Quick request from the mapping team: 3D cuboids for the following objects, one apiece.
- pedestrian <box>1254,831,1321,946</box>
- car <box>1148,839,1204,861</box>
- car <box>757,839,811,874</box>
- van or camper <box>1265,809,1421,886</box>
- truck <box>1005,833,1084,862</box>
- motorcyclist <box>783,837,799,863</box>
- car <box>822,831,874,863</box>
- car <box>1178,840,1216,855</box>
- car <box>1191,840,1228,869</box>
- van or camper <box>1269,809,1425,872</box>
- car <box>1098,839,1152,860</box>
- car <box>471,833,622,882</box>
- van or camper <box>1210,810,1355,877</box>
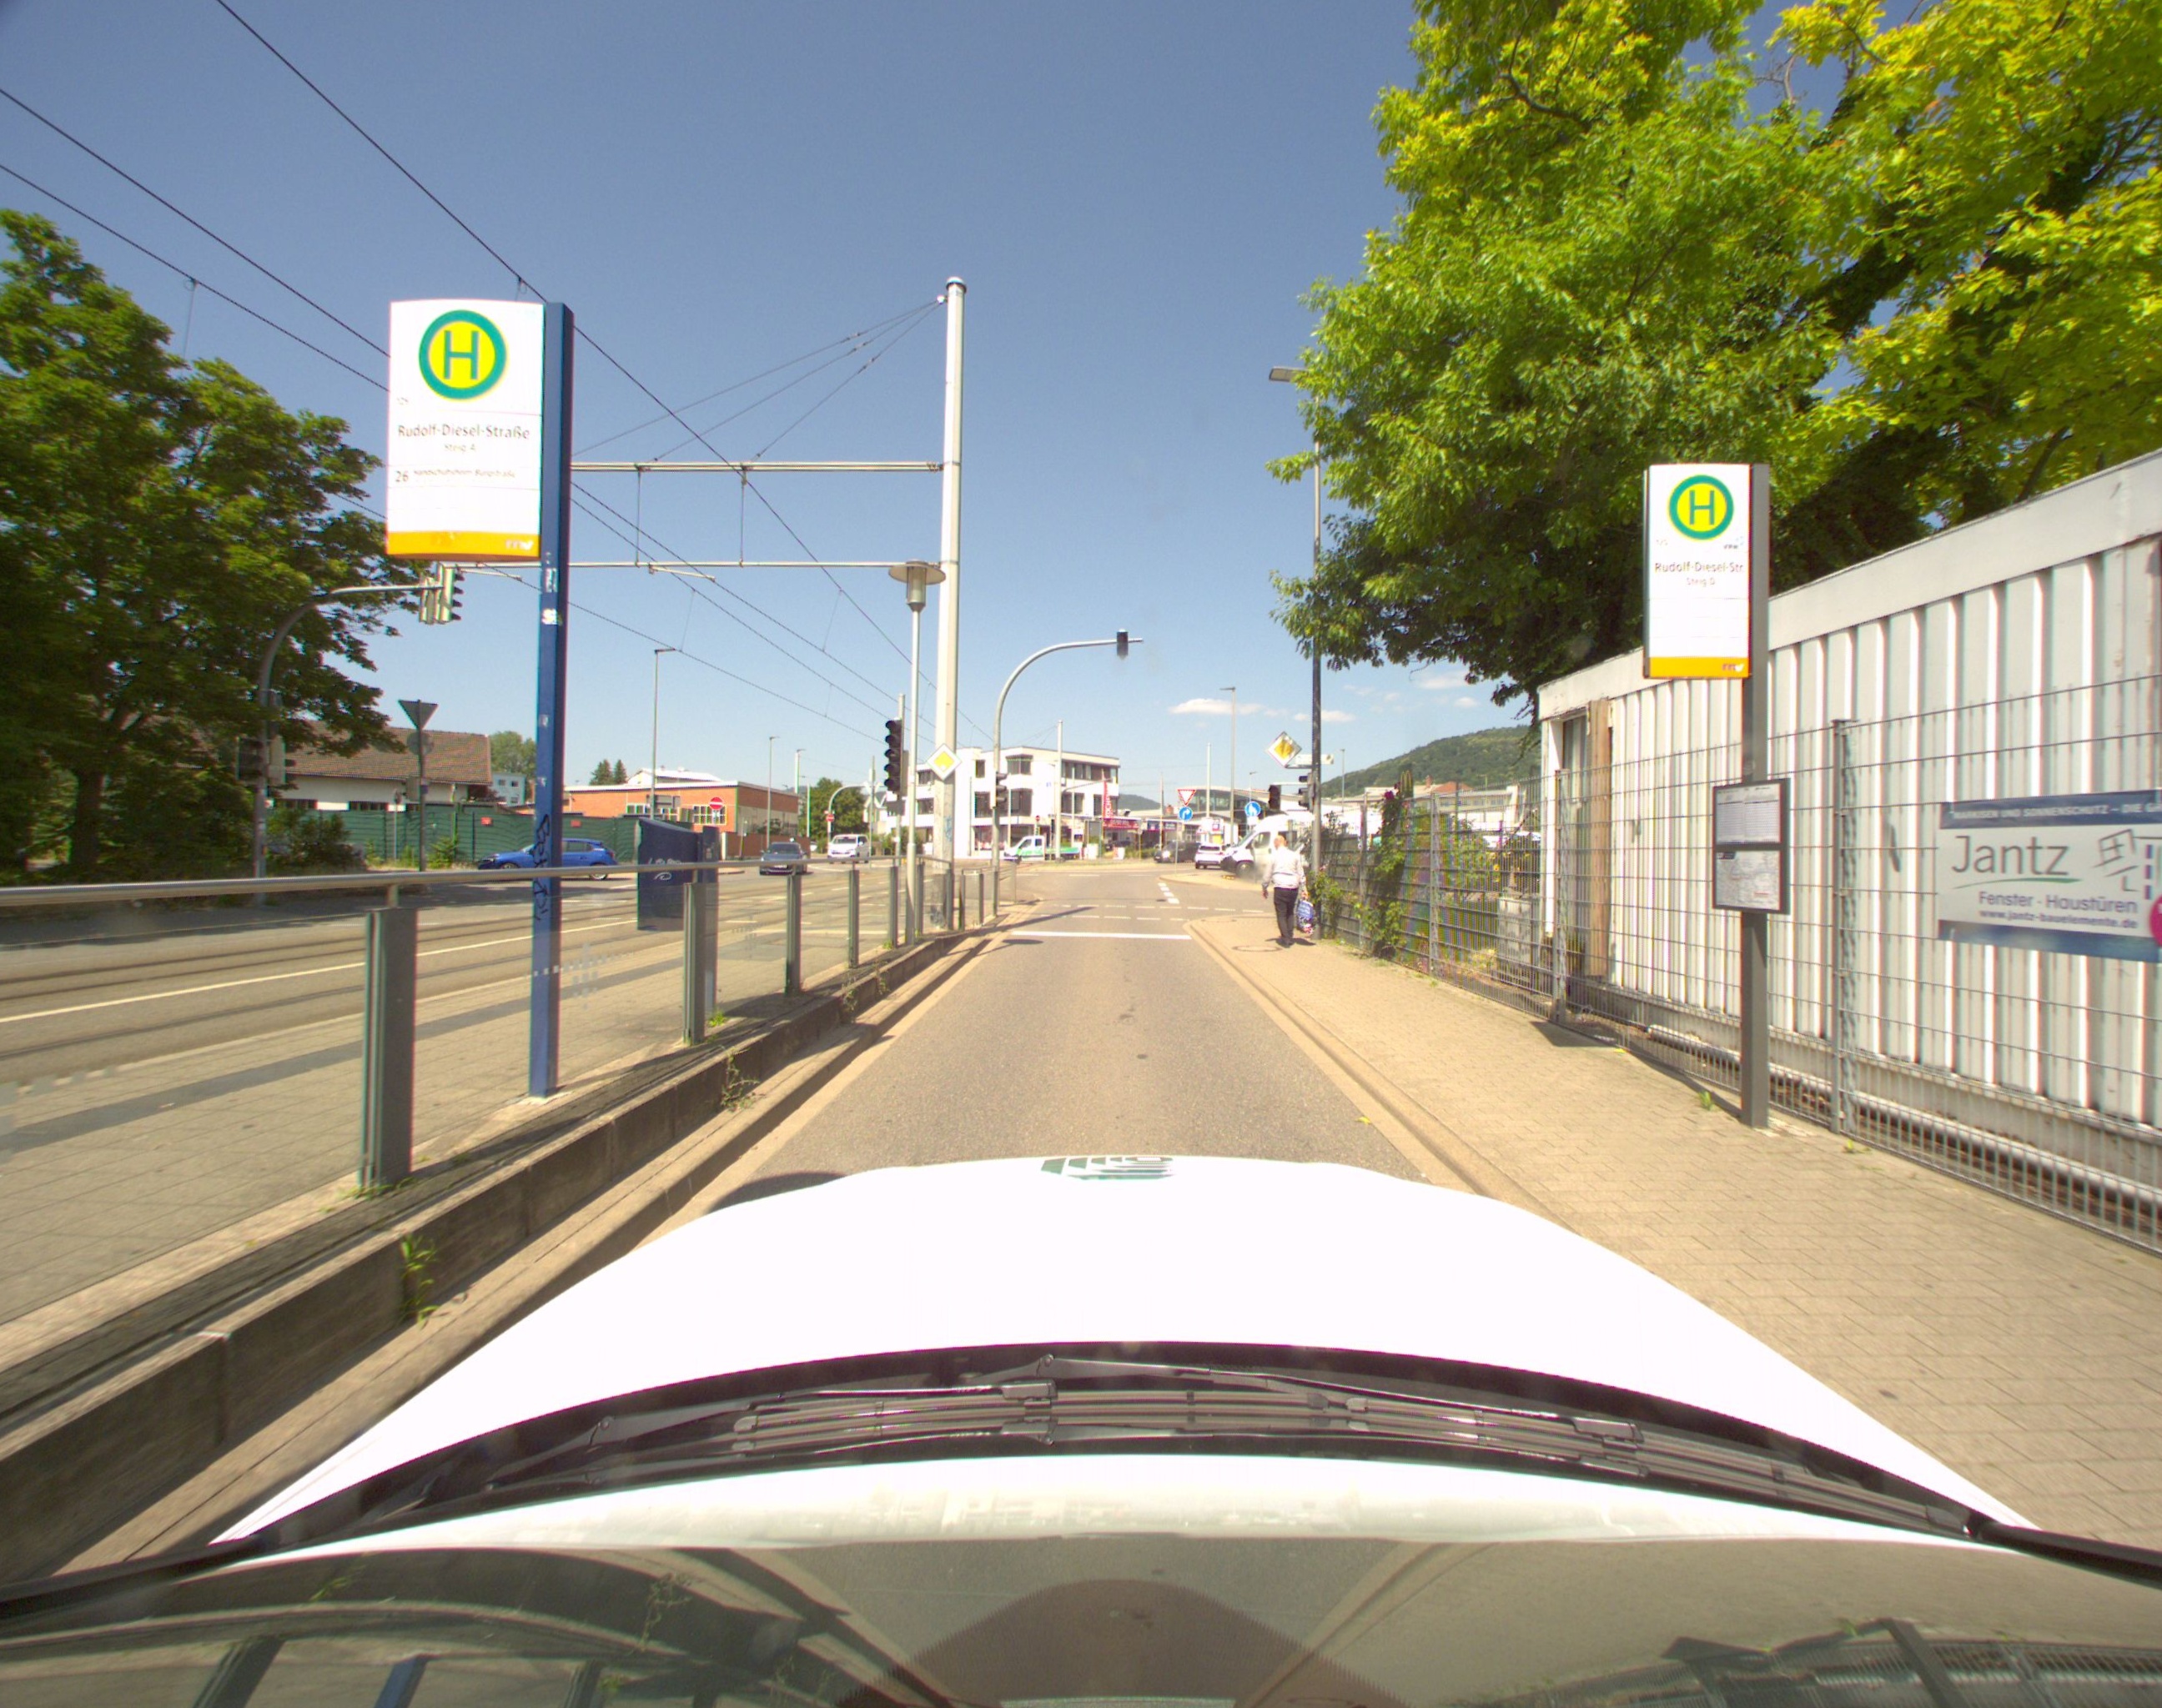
[{"bbox_3d":[3.152,0.511,12.488,0.810,1.699,0.887,0,0,0],"label":"pedestrian"},{"bbox_3d":[8.153,-0.306,69.736,4.417,1.818,1.973,1,0,-26],"label":"car"},{"bbox_3d":[-13.328,0.077,36.739,1.911,1.442,4.571,1,1,-16],"label":"car"},{"bbox_3d":[10.188,-0.288,32.036,5.479,2.813,2.052,1,2,5],"label":"van or camper"},{"bbox_3d":[-3.013,-0.543,66.962,6.361,2.337,2.205,0,0,-7],"label":"truck"},{"bbox_3d":[-16.732,-0.232,46.931,0.838,1.475,0.956,1,-1,-20],"label":"motorcyclist"},{"bbox_3d":[-15.637,-0.416,54.920,2.156,2.014,5.015,1,0,-1],"label":"car"},{"bbox_3d":[13.548,-0.741,95.084,1.863,1.589,4.957,-2,-1,45],"label":"car"},{"bbox_3d":[8.170,0.001,51.496,1.980,1.733,4.580,0,1,13],"label":"car"},{"bbox_3d":[13.209,-0.663,40.805,7.034,2.946,2.336,-1,0,2],"label":"van or camper"},{"bbox_3d":[4.277,-0.401,78.818,5.308,1.965,1.943,0,1,-41],"label":"car"},{"bbox_3d":[-18.159,0.109,27.755,4.181,1.537,1.786,0,1,-38],"label":"car"},{"bbox_3d":[8.526,-0.469,34.973,5.784,2.773,2.094,0,1,4],"label":"van or camper"}]
